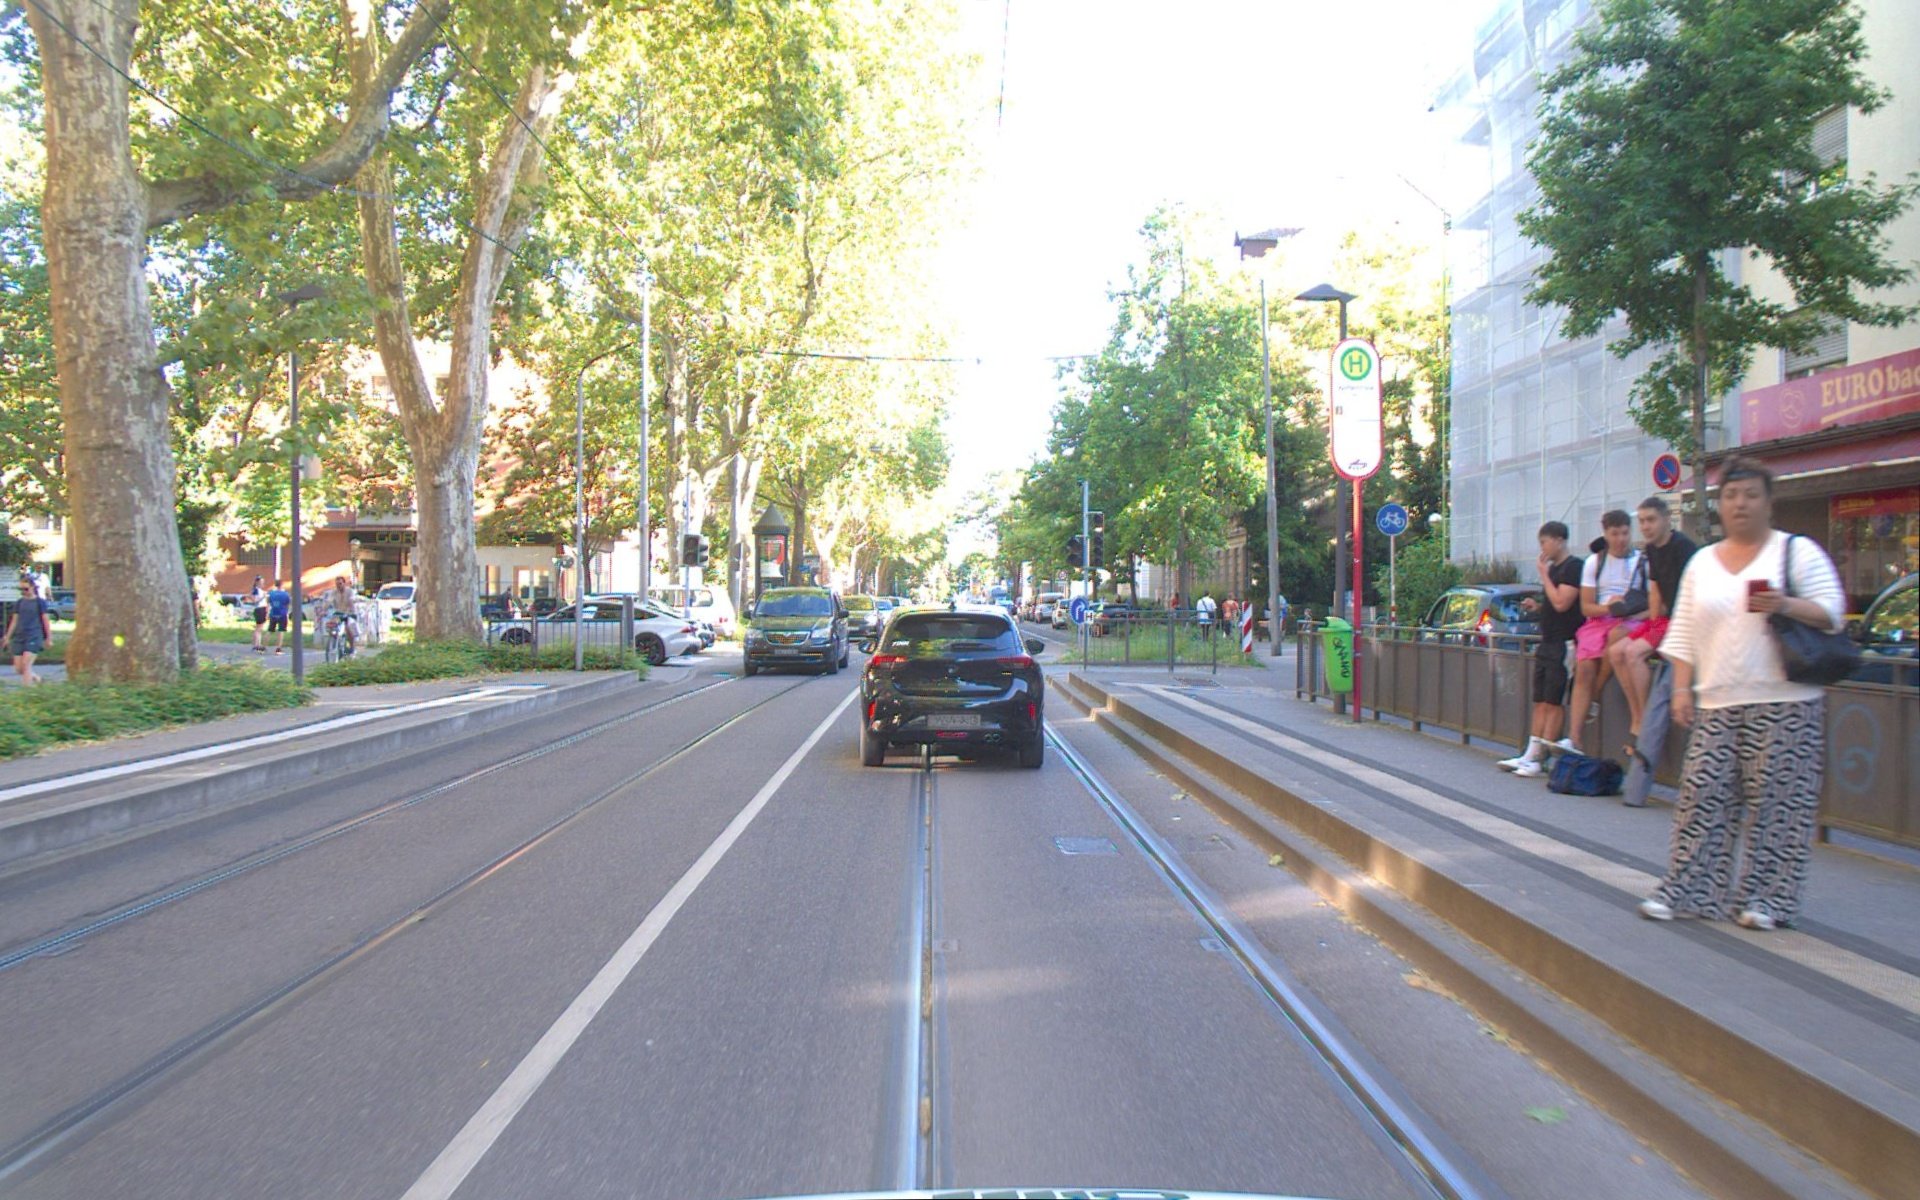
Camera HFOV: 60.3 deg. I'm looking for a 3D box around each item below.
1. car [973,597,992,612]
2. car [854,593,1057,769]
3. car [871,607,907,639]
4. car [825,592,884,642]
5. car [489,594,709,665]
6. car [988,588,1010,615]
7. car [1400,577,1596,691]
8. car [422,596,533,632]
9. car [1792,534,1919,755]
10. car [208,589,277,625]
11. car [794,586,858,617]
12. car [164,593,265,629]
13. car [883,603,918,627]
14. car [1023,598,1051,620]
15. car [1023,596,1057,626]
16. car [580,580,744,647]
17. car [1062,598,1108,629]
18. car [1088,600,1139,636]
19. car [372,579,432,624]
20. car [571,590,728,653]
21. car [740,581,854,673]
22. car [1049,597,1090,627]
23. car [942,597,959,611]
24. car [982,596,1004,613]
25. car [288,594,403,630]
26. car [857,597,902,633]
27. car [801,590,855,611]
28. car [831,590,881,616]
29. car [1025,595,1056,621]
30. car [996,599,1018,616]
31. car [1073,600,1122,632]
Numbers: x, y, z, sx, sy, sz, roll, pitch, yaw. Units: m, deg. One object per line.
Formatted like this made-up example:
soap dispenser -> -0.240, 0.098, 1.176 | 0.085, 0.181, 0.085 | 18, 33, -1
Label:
car -> 2.838, 0.587, 210.062 | 2.208, 1.873, 5.529 | -1, 0, -1
car -> -0.062, 0.707, 16.235 | 1.727, 1.486, 3.949 | 1, 0, -1
car -> -3.788, 1.215, 88.907 | 1.778, 1.596, 4.115 | -1, 0, -1
car -> -3.705, 0.587, 58.675 | 1.869, 1.666, 4.320 | -1, 0, -1
car -> -8.203, 0.665, 37.933 | 4.671, 1.486, 1.953 | 1, 0, -5
car -> 4.095, 0.113, 175.108 | 2.043, 2.820, 4.696 | -1, 0, -1
car -> 8.599, 0.482, 26.852 | 1.726, 1.650, 4.442 | -2, 0, 0
car -> -21.370, 0.629, 73.405 | 4.440, 1.515, 1.857 | 1, 0, -7
car -> 9.356, 0.377, 14.605 | 1.952, 1.929, 4.194 | -1, 0, 1
car -> -34.924, 0.341, 80.613 | 1.908, 1.646, 4.475 | 1, 0, -8
car -> -10.396, 0.144, 128.441 | 4.934, 2.299, 2.084 | 1, 0, -5
car -> -32.431, 0.476, 72.024 | 3.636, 1.475, 1.686 | 1, 0, -6
car -> -3.860, 0.960, 107.140 | 1.632, 1.469, 3.461 | 1, 0, -13
car -> 5.717, 0.688, 123.026 | 1.677, 1.540, 4.035 | -2, 0, -2
car -> 5.212, 0.718, 107.947 | 1.846, 1.883, 4.966 | -2, 0, -1
car -> -8.727, 0.396, 48.665 | 4.479, 1.866, 1.937 | 1, 0, -3
car -> 6.573, 0.704, 87.605 | 1.846, 1.492, 4.591 | -2, 0, -3
car -> 6.597, 0.764, 71.563 | 1.639, 1.437, 3.841 | -2, 0, -2
car -> -26.945, 0.075, 80.036 | 1.957, 2.038, 4.908 | 1, 0, -10
car -> -8.651, 0.592, 46.320 | 4.056, 1.675, 1.901 | 1, 0, -3
car -> -3.334, 0.536, 34.790 | 1.953, 1.746, 5.141 | 1, 0, -1
car -> 6.097, 0.666, 92.337 | 1.846, 1.595, 4.241 | -2, 0, -1
car -> -1.291, 0.576, 225.444 | 2.208, 1.873, 5.529 | -1, 0, -1
car -> 3.732, 0.510, 188.862 | 2.208, 1.873, 5.529 | -1, 0, -1
car -> -26.880, 0.543, 72.499 | 4.385, 1.475, 1.820 | 1, 0, -9
car -> -3.472, 0.643, 72.198 | 1.739, 1.486, 4.204 | 1, 0, 0
car -> -10.438, 0.042, 131.491 | 4.214, 1.635, 1.924 | 1, 0, -4
car -> -10.933, 0.328, 174.180 | 4.934, 2.416, 2.081 | -3, 0, -1
car -> 5.665, 0.547, 117.089 | 1.847, 1.797, 4.677 | 0, 0, -1
car -> 4.461, 0.705, 157.828 | 1.846, 1.459, 4.529 | -2, 0, -1
car -> 6.477, 0.744, 78.116 | 1.846, 1.392, 4.106 | -2, 0, -1
